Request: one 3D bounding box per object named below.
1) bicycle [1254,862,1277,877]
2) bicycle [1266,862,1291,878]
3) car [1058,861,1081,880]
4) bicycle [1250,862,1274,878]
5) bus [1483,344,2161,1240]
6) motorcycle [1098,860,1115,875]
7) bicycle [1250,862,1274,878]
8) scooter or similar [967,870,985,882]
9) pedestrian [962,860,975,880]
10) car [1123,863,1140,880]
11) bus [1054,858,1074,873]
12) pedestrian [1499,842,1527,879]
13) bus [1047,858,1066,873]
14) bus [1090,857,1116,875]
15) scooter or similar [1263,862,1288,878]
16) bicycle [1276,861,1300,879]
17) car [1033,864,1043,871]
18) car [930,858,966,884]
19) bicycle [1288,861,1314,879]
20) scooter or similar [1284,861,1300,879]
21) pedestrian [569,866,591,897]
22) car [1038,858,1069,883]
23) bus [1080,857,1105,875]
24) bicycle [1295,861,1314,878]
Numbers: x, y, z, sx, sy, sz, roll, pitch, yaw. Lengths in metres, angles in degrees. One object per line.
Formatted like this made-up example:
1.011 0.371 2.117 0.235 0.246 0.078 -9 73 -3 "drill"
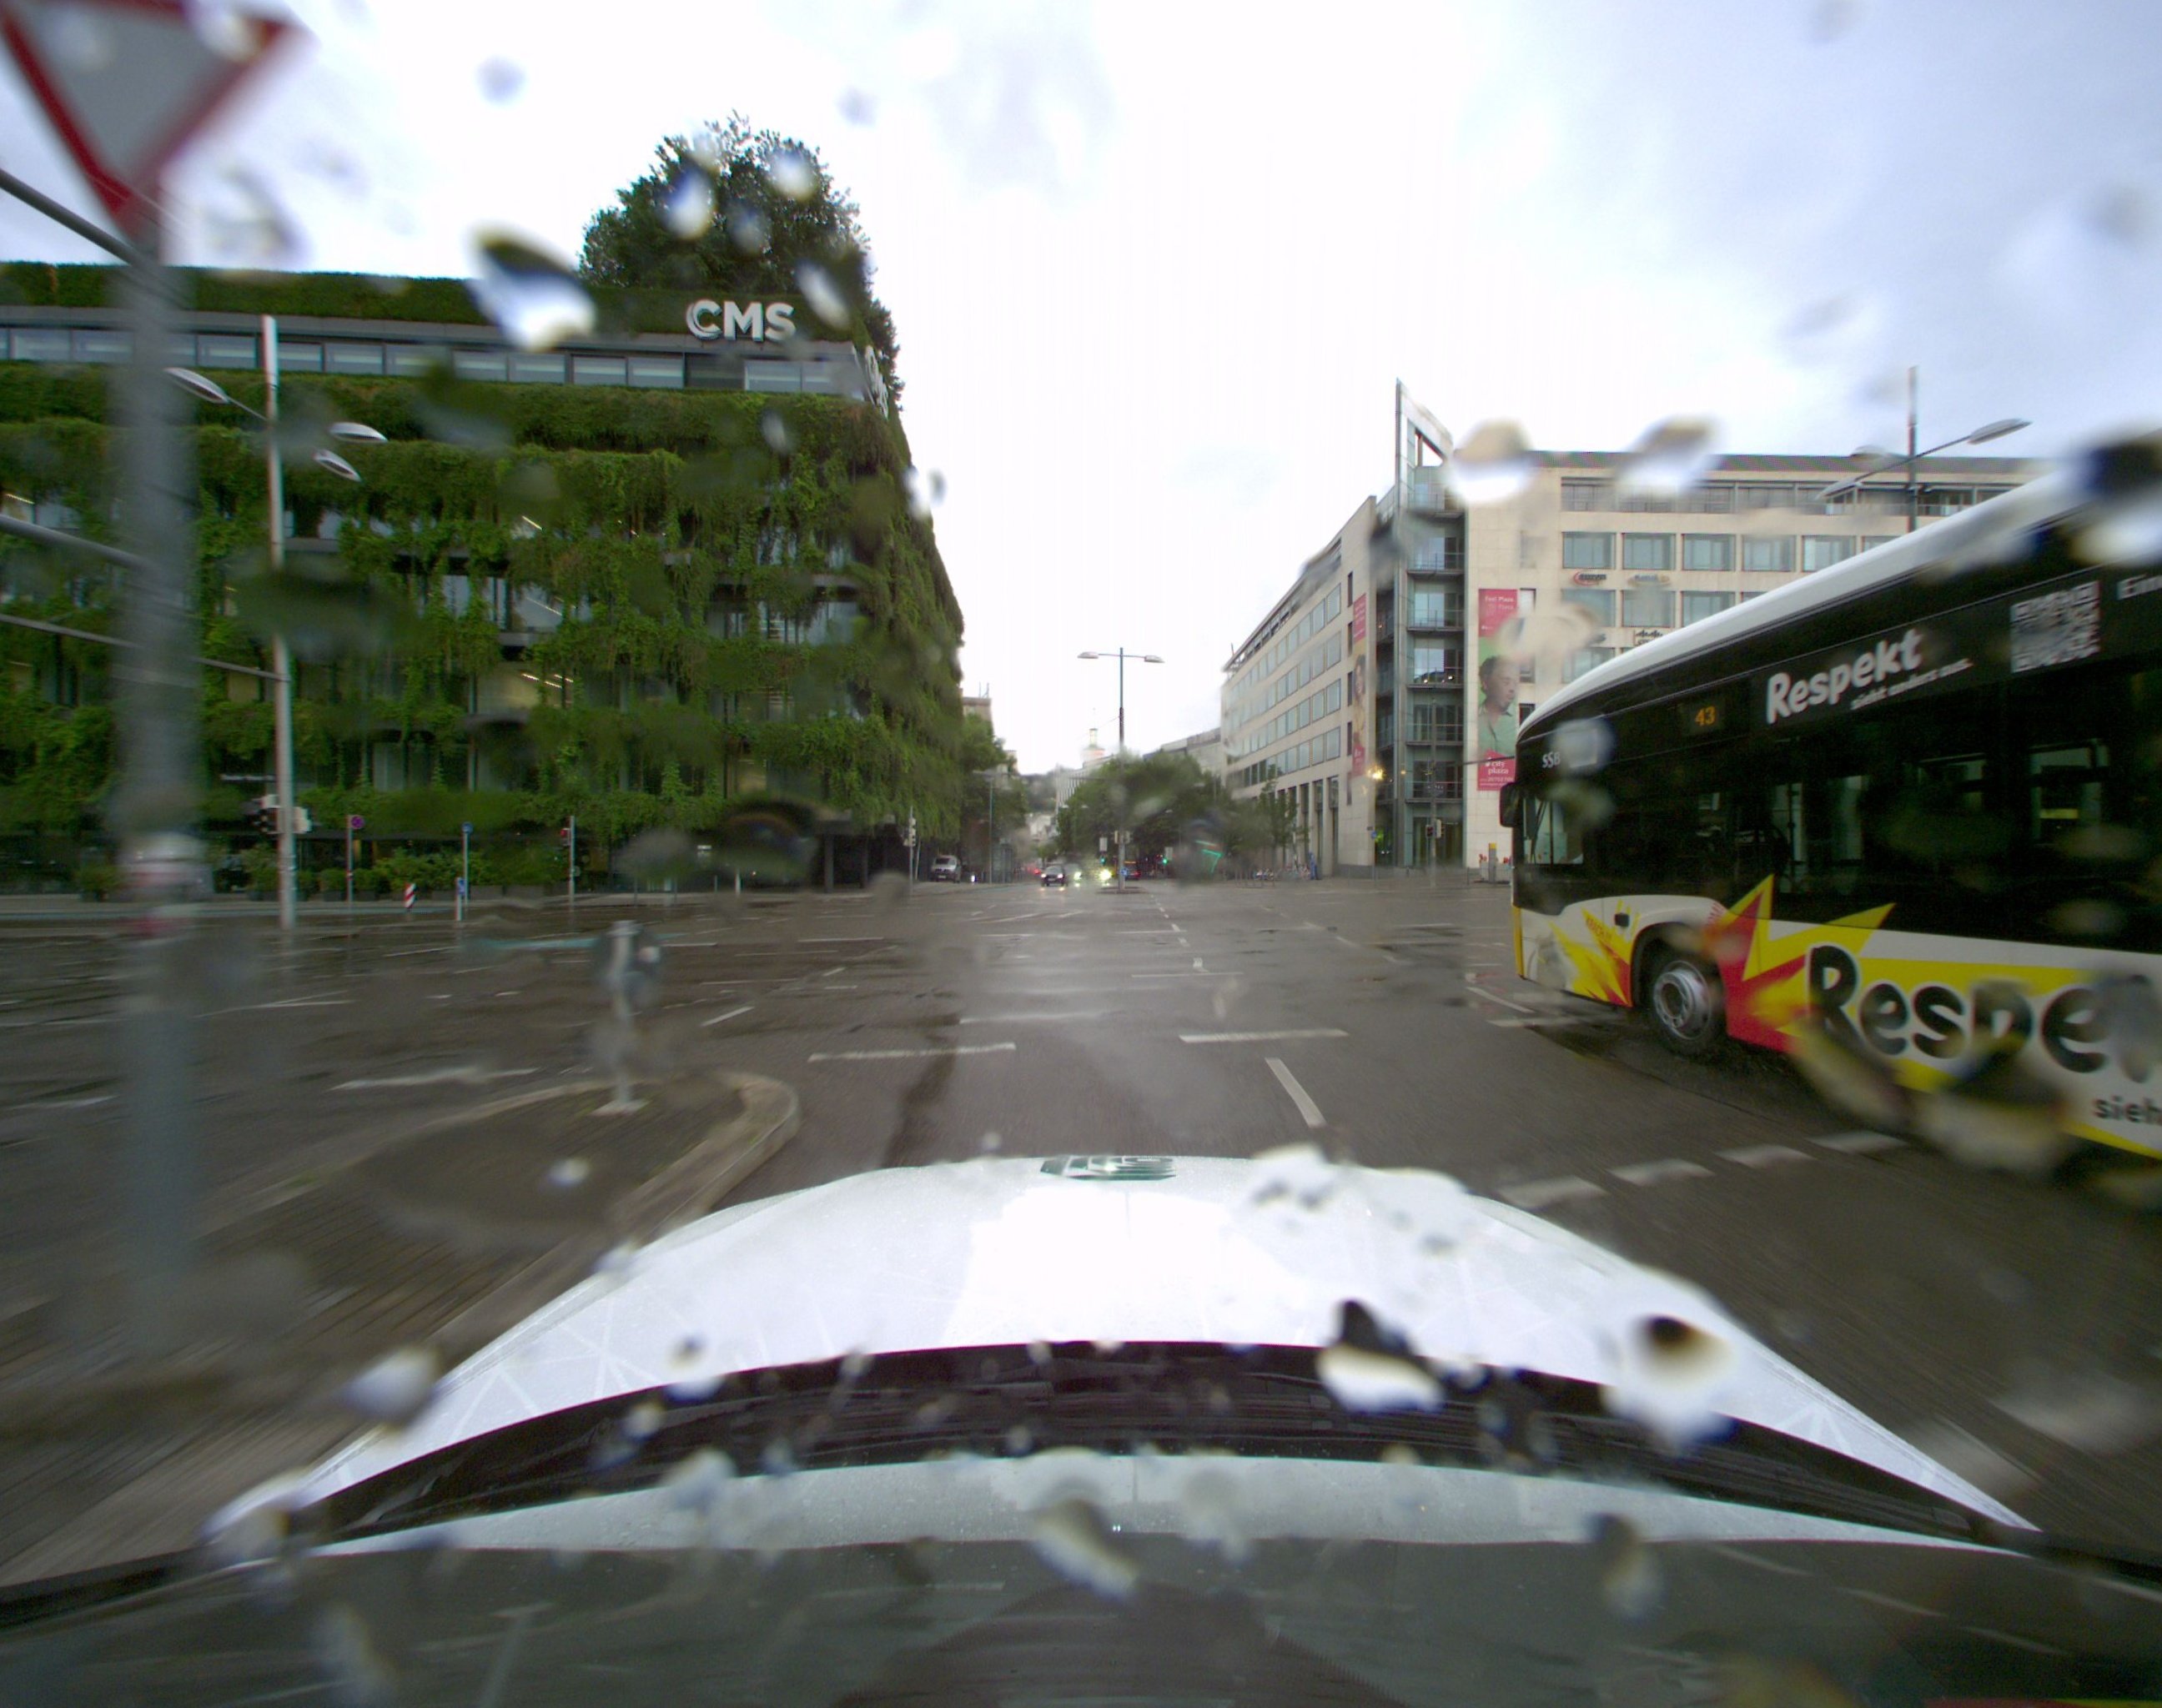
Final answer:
14.792 1.274 65.274 1.770 1.194 0.587 0 -1 3 "bicycle"
15.137 1.221 62.543 1.770 1.194 0.587 0 -1 3 "bicycle"
-1.110 1.573 77.667 2.158 1.765 5.109 0 -1 -1 "car"
14.148 1.247 63.738 1.770 1.194 0.587 0 -1 3 "bicycle"
5.650 -0.221 4.087 2.871 3.451 9.763 0 -1 3 "bus"
2.663 1.457 84.968 1.547 1.515 4.382 0 -1 -1 "motorcycle"
14.324 1.259 64.369 1.770 1.194 0.587 0 -1 3 "bicycle"
-9.563 2.002 74.111 0.616 1.004 1.671 -1 -1 40 "scooter or similar"
-9.621 1.363 69.658 0.930 1.644 0.774 0 -1 1 "pedestrian"
6.111 2.121 98.909 1.540 2.014 4.663 0 -1 -3 "car"
-3.542 2.349 164.727 2.631 2.995 7.294 0 -1 -13 "bus"
21.574 0.337 40.721 0.958 1.817 0.836 0 -1 1 "pedestrian"
-5.227 2.437 171.871 2.631 2.995 7.414 0 -1 -13 "bus"
3.641 1.972 137.234 2.631 2.995 7.414 0 -1 -13 "bus"
14.757 1.211 61.930 1.770 1.194 0.587 0 -1 3 "scooter or similar"
14.571 1.124 57.345 0.588 1.194 1.768 1 -1 -26 "bicycle"
-9.526 2.953 179.427 1.775 1.508 4.001 0 -1 2 "car"
-9.713 1.267 59.905 1.863 1.839 4.001 0 -1 2 "car"
15.041 1.092 55.780 1.607 1.194 0.590 -1 -2 28 "bicycle"
14.259 1.082 55.116 0.951 1.194 0.458 -1 -2 42 "scooter or similar"
-21.579 1.175 35.086 0.612 1.311 0.598 -1 -1 -4 "pedestrian"
-1.994 1.228 60.458 2.158 1.765 5.109 0 -1 -1 "car"
1.960 2.074 144.428 2.631 2.995 7.414 0 -1 -13 "bus"
15.894 1.130 57.869 0.579 1.194 1.794 -1 -2 40 "bicycle"
